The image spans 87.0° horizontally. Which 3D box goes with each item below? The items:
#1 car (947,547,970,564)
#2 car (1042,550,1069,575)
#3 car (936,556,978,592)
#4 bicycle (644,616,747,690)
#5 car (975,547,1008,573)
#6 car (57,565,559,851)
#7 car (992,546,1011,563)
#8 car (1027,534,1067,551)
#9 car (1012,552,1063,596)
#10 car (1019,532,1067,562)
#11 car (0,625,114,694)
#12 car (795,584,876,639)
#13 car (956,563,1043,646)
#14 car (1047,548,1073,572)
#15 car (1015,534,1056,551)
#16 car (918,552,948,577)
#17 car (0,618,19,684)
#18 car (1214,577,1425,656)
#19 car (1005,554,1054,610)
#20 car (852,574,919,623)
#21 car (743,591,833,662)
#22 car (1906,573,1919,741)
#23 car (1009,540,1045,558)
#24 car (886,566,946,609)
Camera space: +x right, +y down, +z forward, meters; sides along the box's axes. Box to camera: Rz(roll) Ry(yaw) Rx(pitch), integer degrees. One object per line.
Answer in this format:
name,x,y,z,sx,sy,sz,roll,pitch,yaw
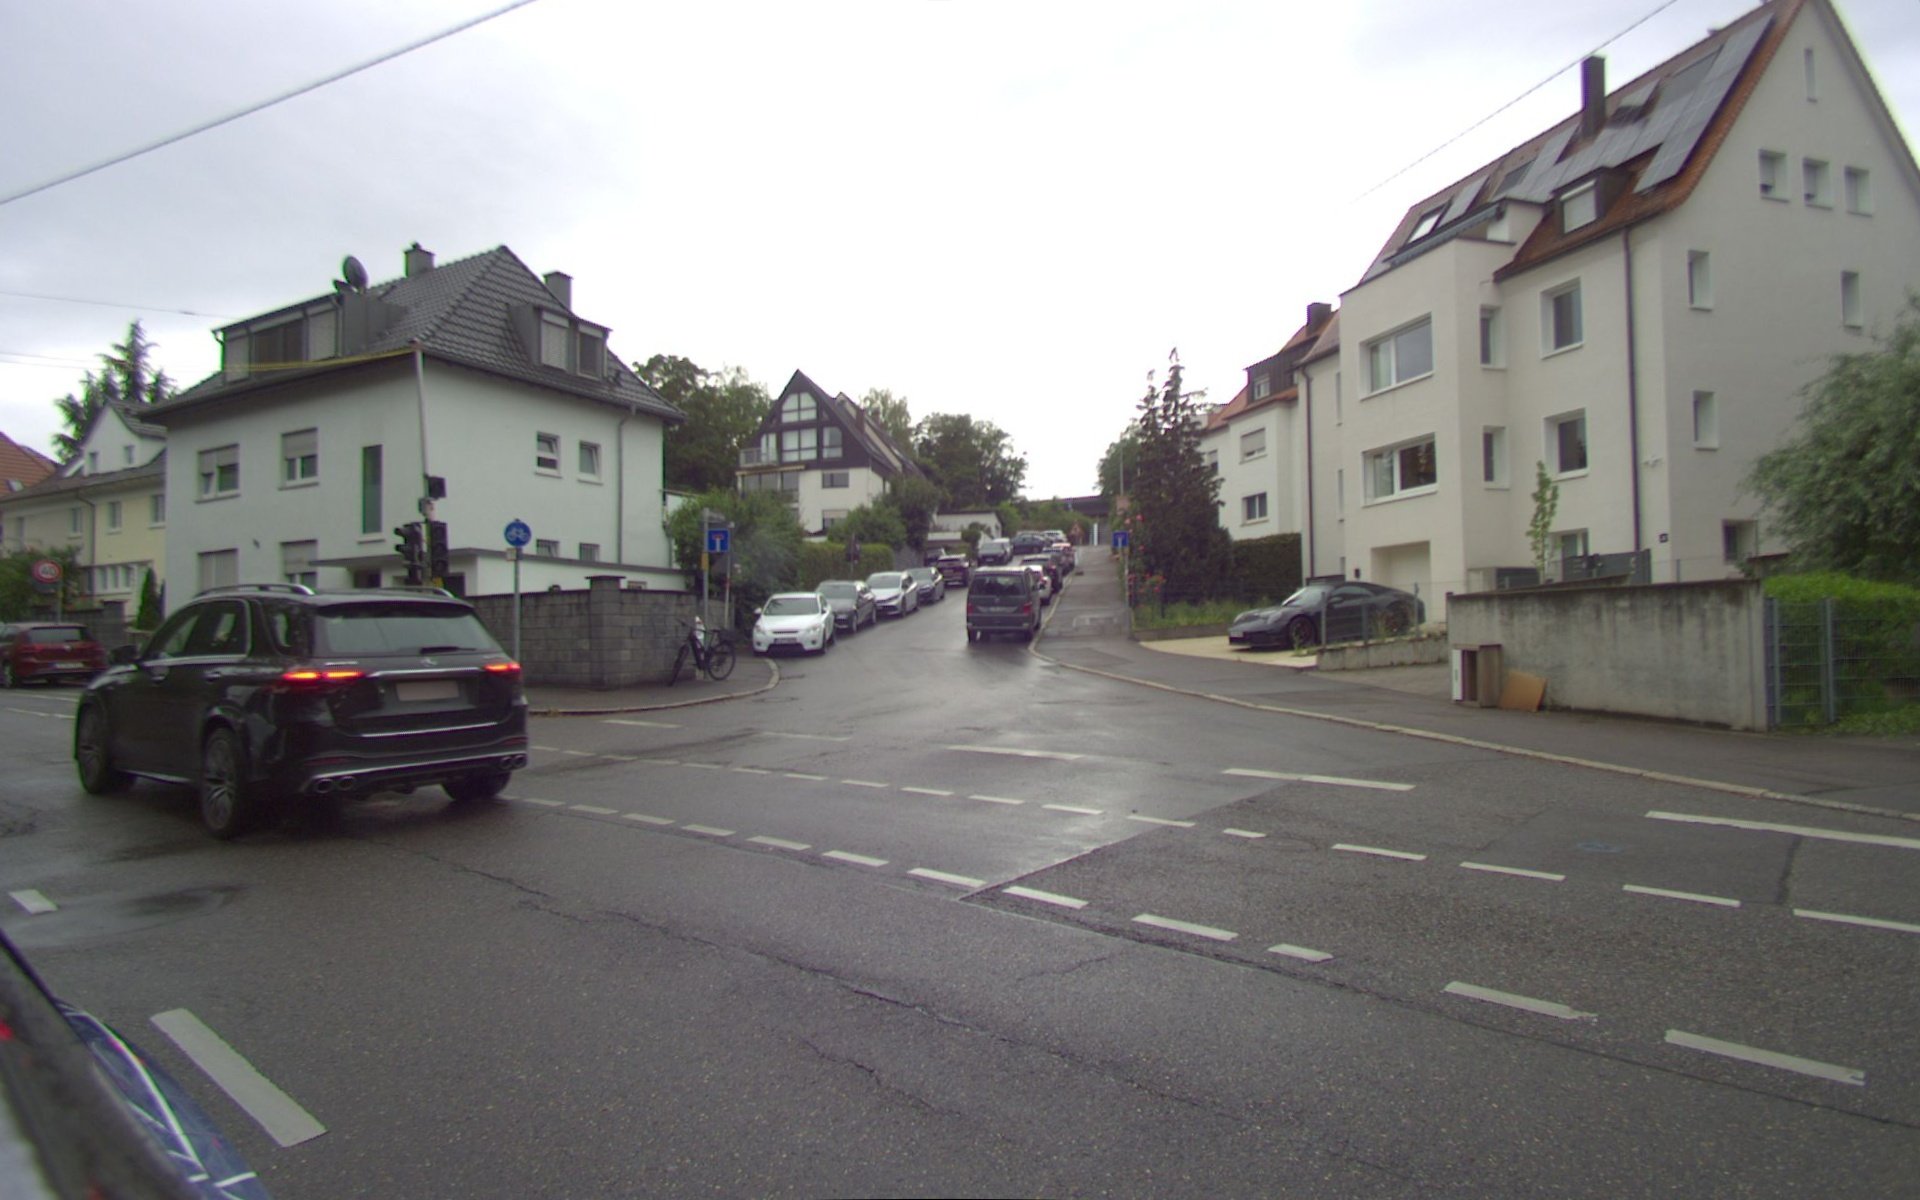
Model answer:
car,-0.082,-3.274,74.031,1.559,1.220,3.650,-1,3,2
car,5.501,-2.155,58.121,1.274,1.325,2.984,-1,3,10
car,-0.117,-1.373,52.476,1.623,1.637,3.992,-1,5,8
bicycle,-4.792,0.930,18.469,0.508,1.249,1.984,1,0,32
car,2.195,-2.685,68.896,1.770,1.531,4.016,-1,0,9
car,-5.519,0.735,8.377,4.543,1.761,1.962,-2,-2,35
car,3.058,-3.342,74.721,1.292,1.206,2.980,-1,3,5
car,8.942,-5.923,103.923,3.782,1.529,1.664,-1,0,15
car,3.518,-1.202,45.386,1.823,1.699,4.039,-1,5,11
car,7.203,-4.581,87.652,3.954,2.028,1.995,-5,-1,8
car,-21.474,1.332,23.396,3.833,1.443,1.768,-1,-1,30
car,-3.832,0.314,31.830,1.702,1.397,3.900,-1,4,6
car,1.237,0.045,29.336,1.978,2.028,4.482,-1,4,9
car,6.236,-2.461,62.858,1.488,1.373,3.465,-1,0,8
car,7.393,-5.611,98.798,3.922,1.528,1.748,-1,0,6
car,-1.828,-2.433,69.804,1.793,1.566,4.009,-1,0,3
car,-26.159,1.315,25.788,4.131,1.653,1.782,-1,-1,25
car,7.701,0.330,21.782,3.942,1.290,1.613,-5,1,-13
car,2.816,-0.762,40.334,1.686,1.843,4.194,-1,6,7
car,-2.662,-0.091,37.098,1.738,1.481,3.940,-1,4,6
car,-4.359,0.621,26.168,1.827,1.473,4.124,-1,3,-3
car,10.597,0.422,8.559,3.934,1.497,1.780,-2,-1,-12
car,5.554,-4.216,83.664,2.914,1.328,1.282,-1,0,4
car,-1.810,-0.561,42.971,1.903,1.448,4.100,-1,5,7
